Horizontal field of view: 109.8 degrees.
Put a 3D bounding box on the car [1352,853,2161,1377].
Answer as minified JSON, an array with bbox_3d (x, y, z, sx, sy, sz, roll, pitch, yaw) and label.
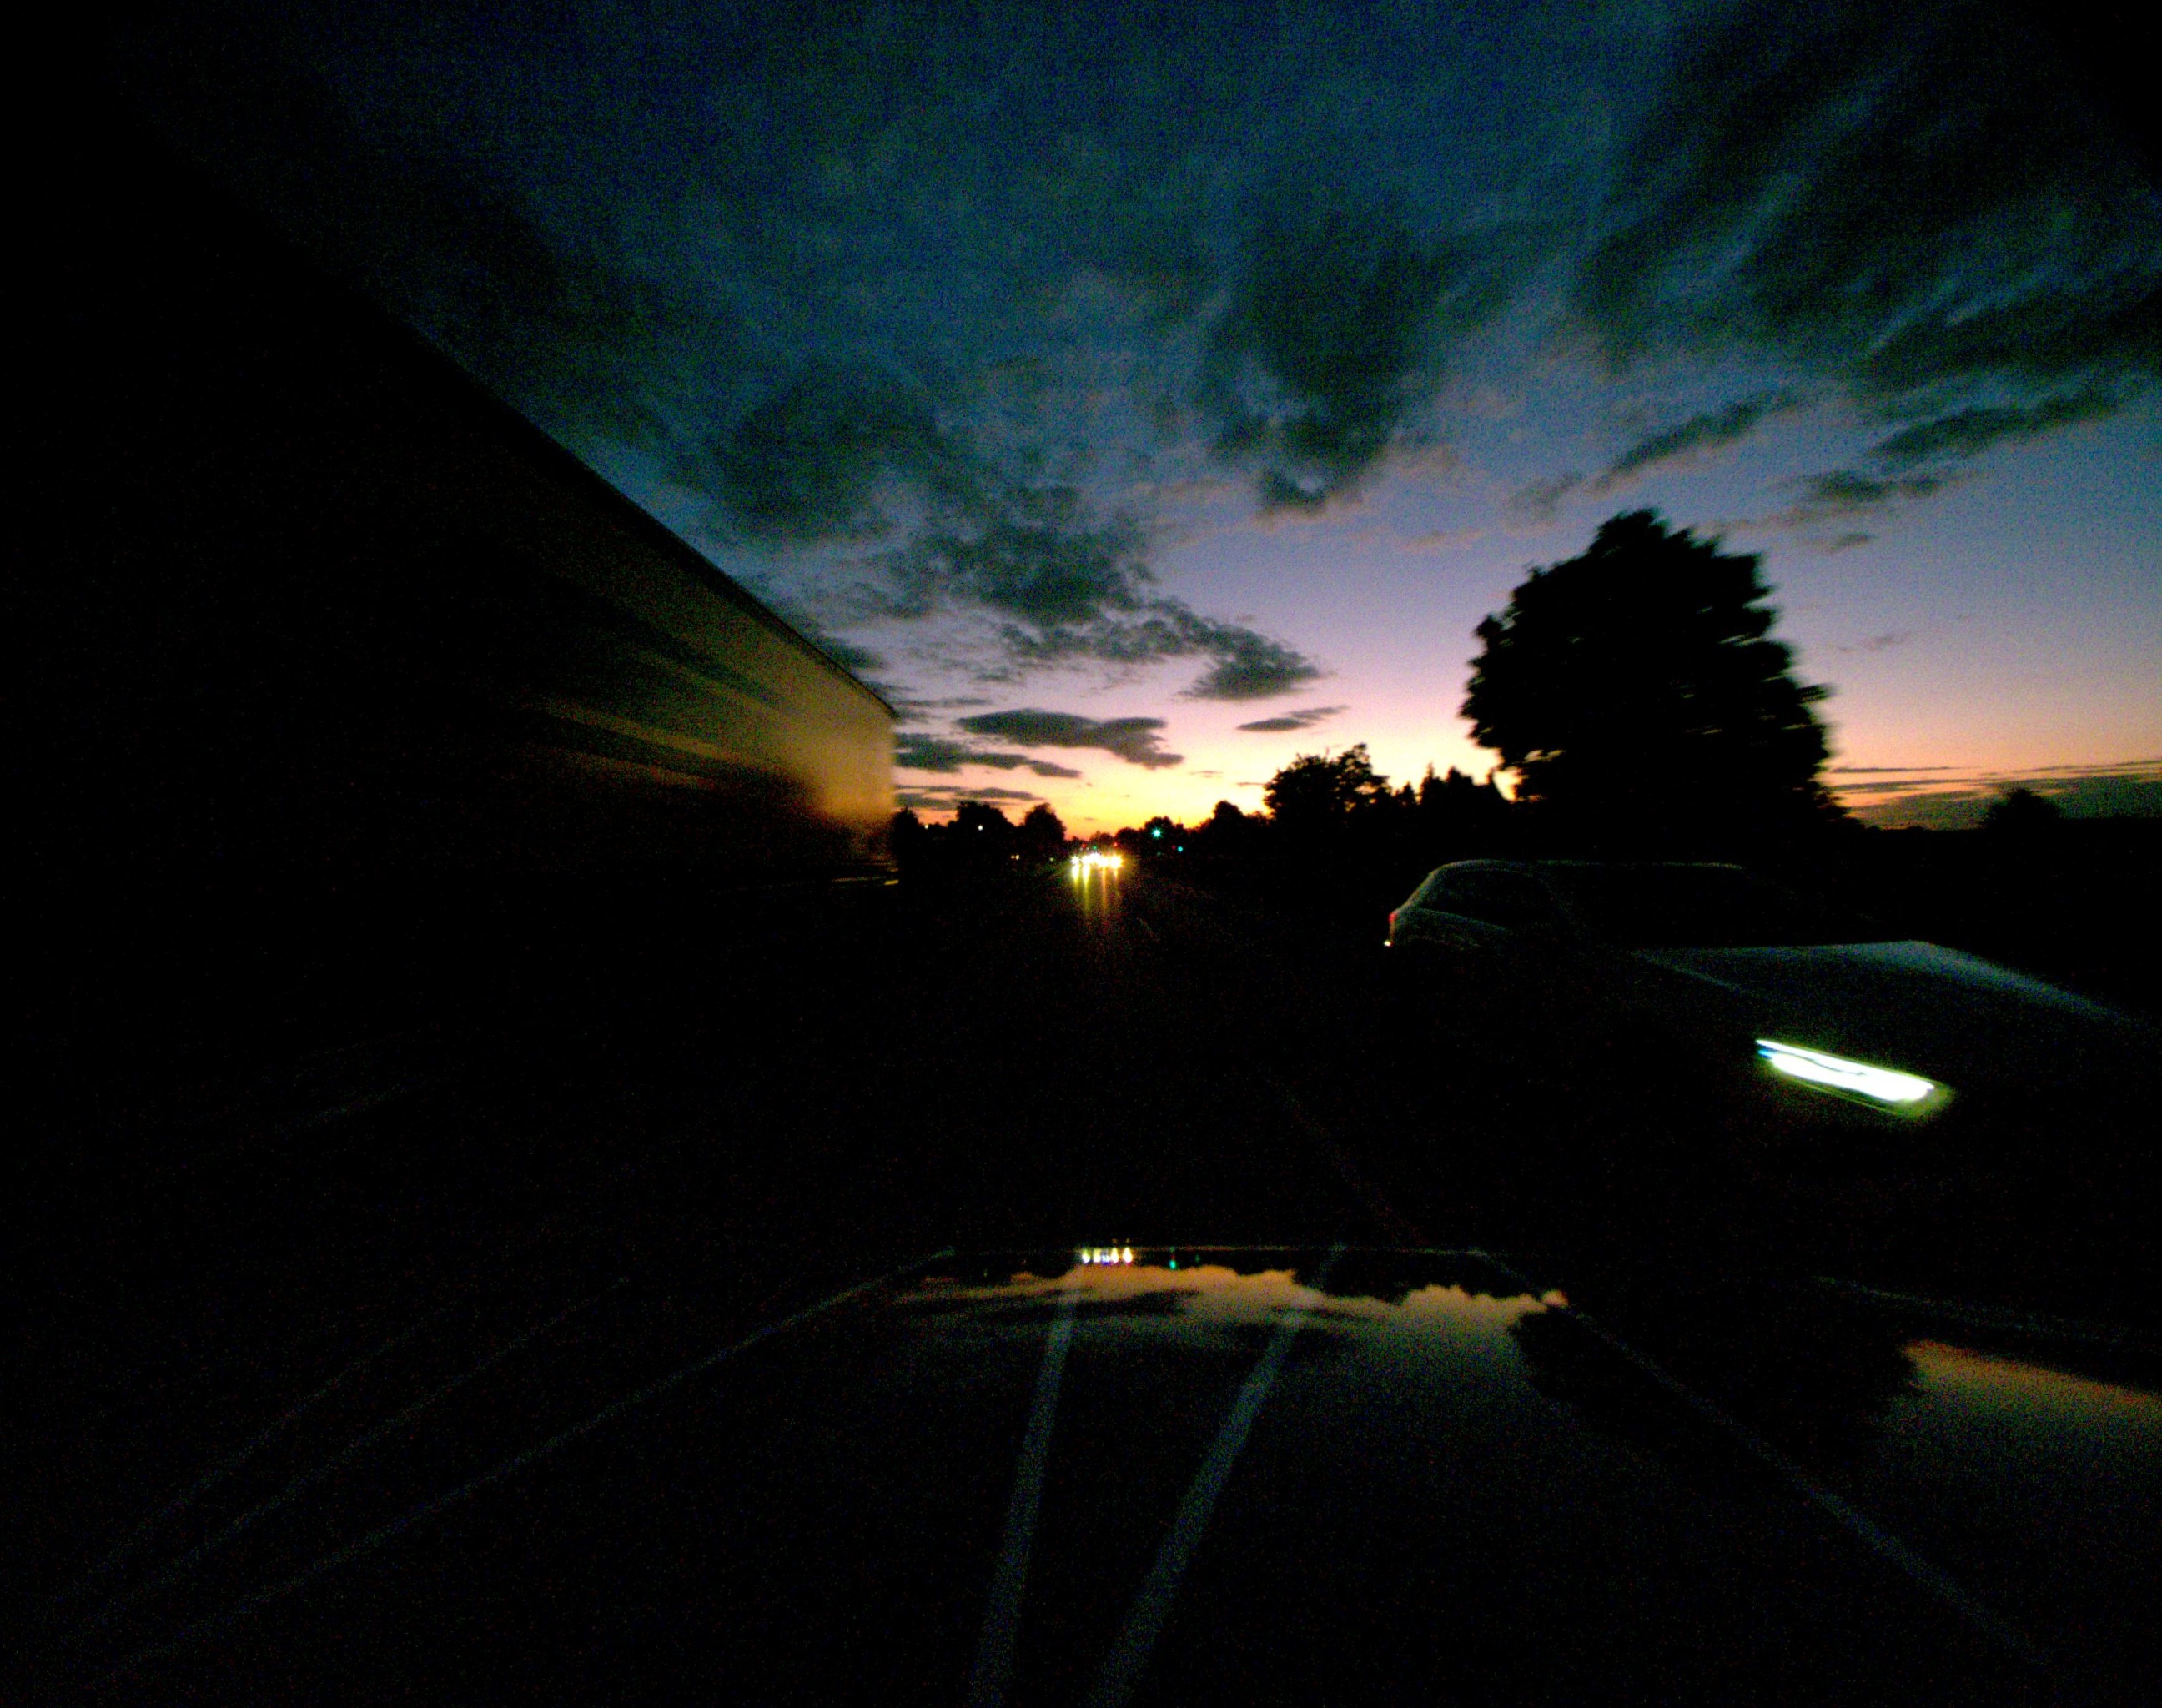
[{"bbox_3d":[3.300,0.791,4.585,1.646,1.482,4.579,-2,1,0],"label":"car"}]

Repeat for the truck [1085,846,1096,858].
[{"bbox_3d":[2.726,-0.618,229.409,3.016,3.674,9.057,-2,1,0],"label":"truck"}]

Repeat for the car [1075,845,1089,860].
[{"bbox_3d":[0.111,-0.217,104.095,1.741,2.002,4.000,-2,0,0],"label":"car"}]

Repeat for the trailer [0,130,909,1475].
[{"bbox_3d":[-4.218,-0.188,6.123,2.475,3.790,12.670,-2,1,1],"label":"trailer"}]

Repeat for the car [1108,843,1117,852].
[{"bbox_3d":[7.299,-1.469,176.469,1.999,2.002,3.999,-2,1,0],"label":"car"}]

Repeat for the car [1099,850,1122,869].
[{"bbox_3d":[2.814,0.519,73.201,1.999,1.635,4.296,-2,1,-1],"label":"car"}]
